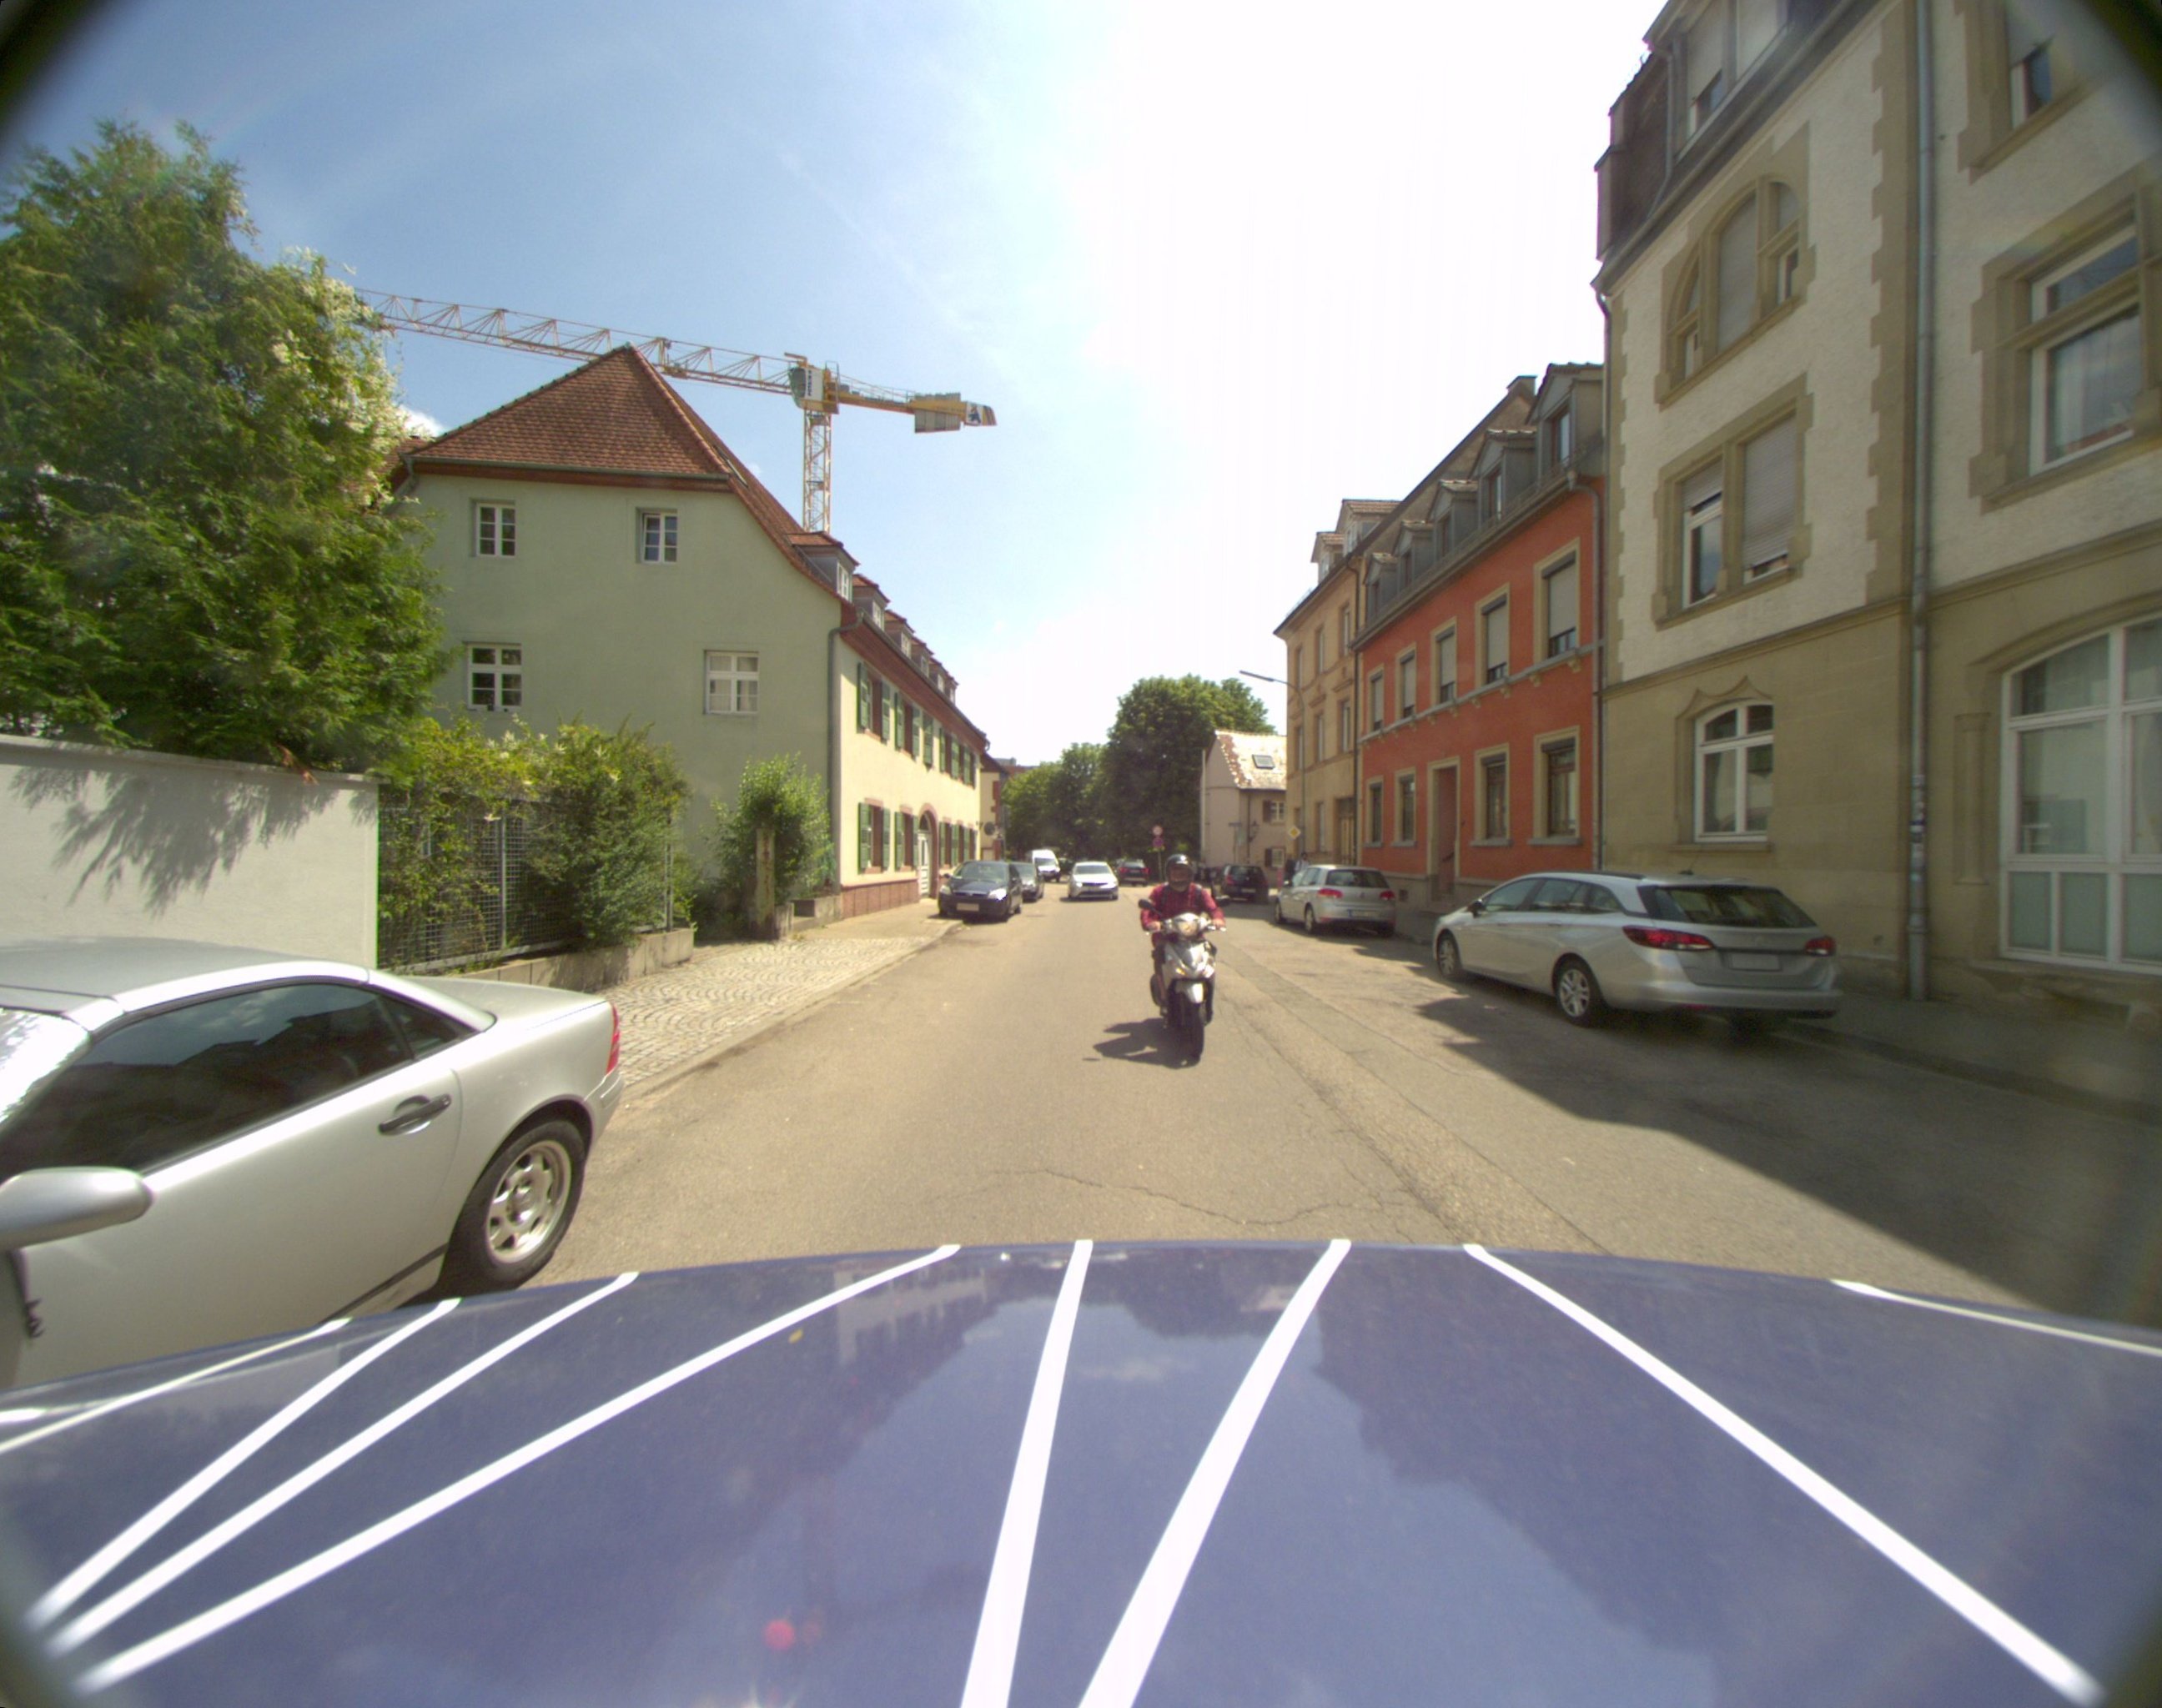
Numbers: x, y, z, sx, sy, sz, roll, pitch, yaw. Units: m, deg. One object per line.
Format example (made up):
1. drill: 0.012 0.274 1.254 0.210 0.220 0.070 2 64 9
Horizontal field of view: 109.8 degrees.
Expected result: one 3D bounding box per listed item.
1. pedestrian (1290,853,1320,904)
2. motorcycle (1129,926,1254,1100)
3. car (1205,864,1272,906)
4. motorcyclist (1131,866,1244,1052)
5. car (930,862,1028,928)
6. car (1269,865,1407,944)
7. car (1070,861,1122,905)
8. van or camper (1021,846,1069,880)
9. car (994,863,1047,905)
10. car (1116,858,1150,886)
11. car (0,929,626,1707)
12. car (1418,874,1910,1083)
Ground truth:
1. pedestrian: 7.901 0.850 26.844 0.770 1.761 0.763 -2 0 0
2. motorcycle: 0.850 1.227 6.417 0.760 1.049 1.992 -1 0 0
3. car: 5.979 1.137 29.282 1.732 1.433 3.857 0 0 0
4. motorcyclist: 0.860 0.824 6.411 0.793 1.431 1.020 -1 0 0
5. car: -2.589 1.004 20.197 1.851 1.506 4.001 0 0 3
6. car: 5.520 1.025 16.843 1.714 1.451 3.853 2 0 0
7. car: 0.523 1.040 28.880 1.812 1.512 4.000 0 0 0
8. van or camper: -2.600 0.625 53.466 2.002 2.274 5.135 0 0 -19
9. car: -2.293 1.107 29.608 1.651 1.489 4.000 0 0 1
10. car: 2.934 0.985 43.708 1.791 1.516 4.064 0 0 2
11. car: -2.825 1.030 1.392 1.589 1.345 3.822 2 0 1
12. car: 5.478 1.018 8.071 1.882 1.501 4.381 0 0 0
